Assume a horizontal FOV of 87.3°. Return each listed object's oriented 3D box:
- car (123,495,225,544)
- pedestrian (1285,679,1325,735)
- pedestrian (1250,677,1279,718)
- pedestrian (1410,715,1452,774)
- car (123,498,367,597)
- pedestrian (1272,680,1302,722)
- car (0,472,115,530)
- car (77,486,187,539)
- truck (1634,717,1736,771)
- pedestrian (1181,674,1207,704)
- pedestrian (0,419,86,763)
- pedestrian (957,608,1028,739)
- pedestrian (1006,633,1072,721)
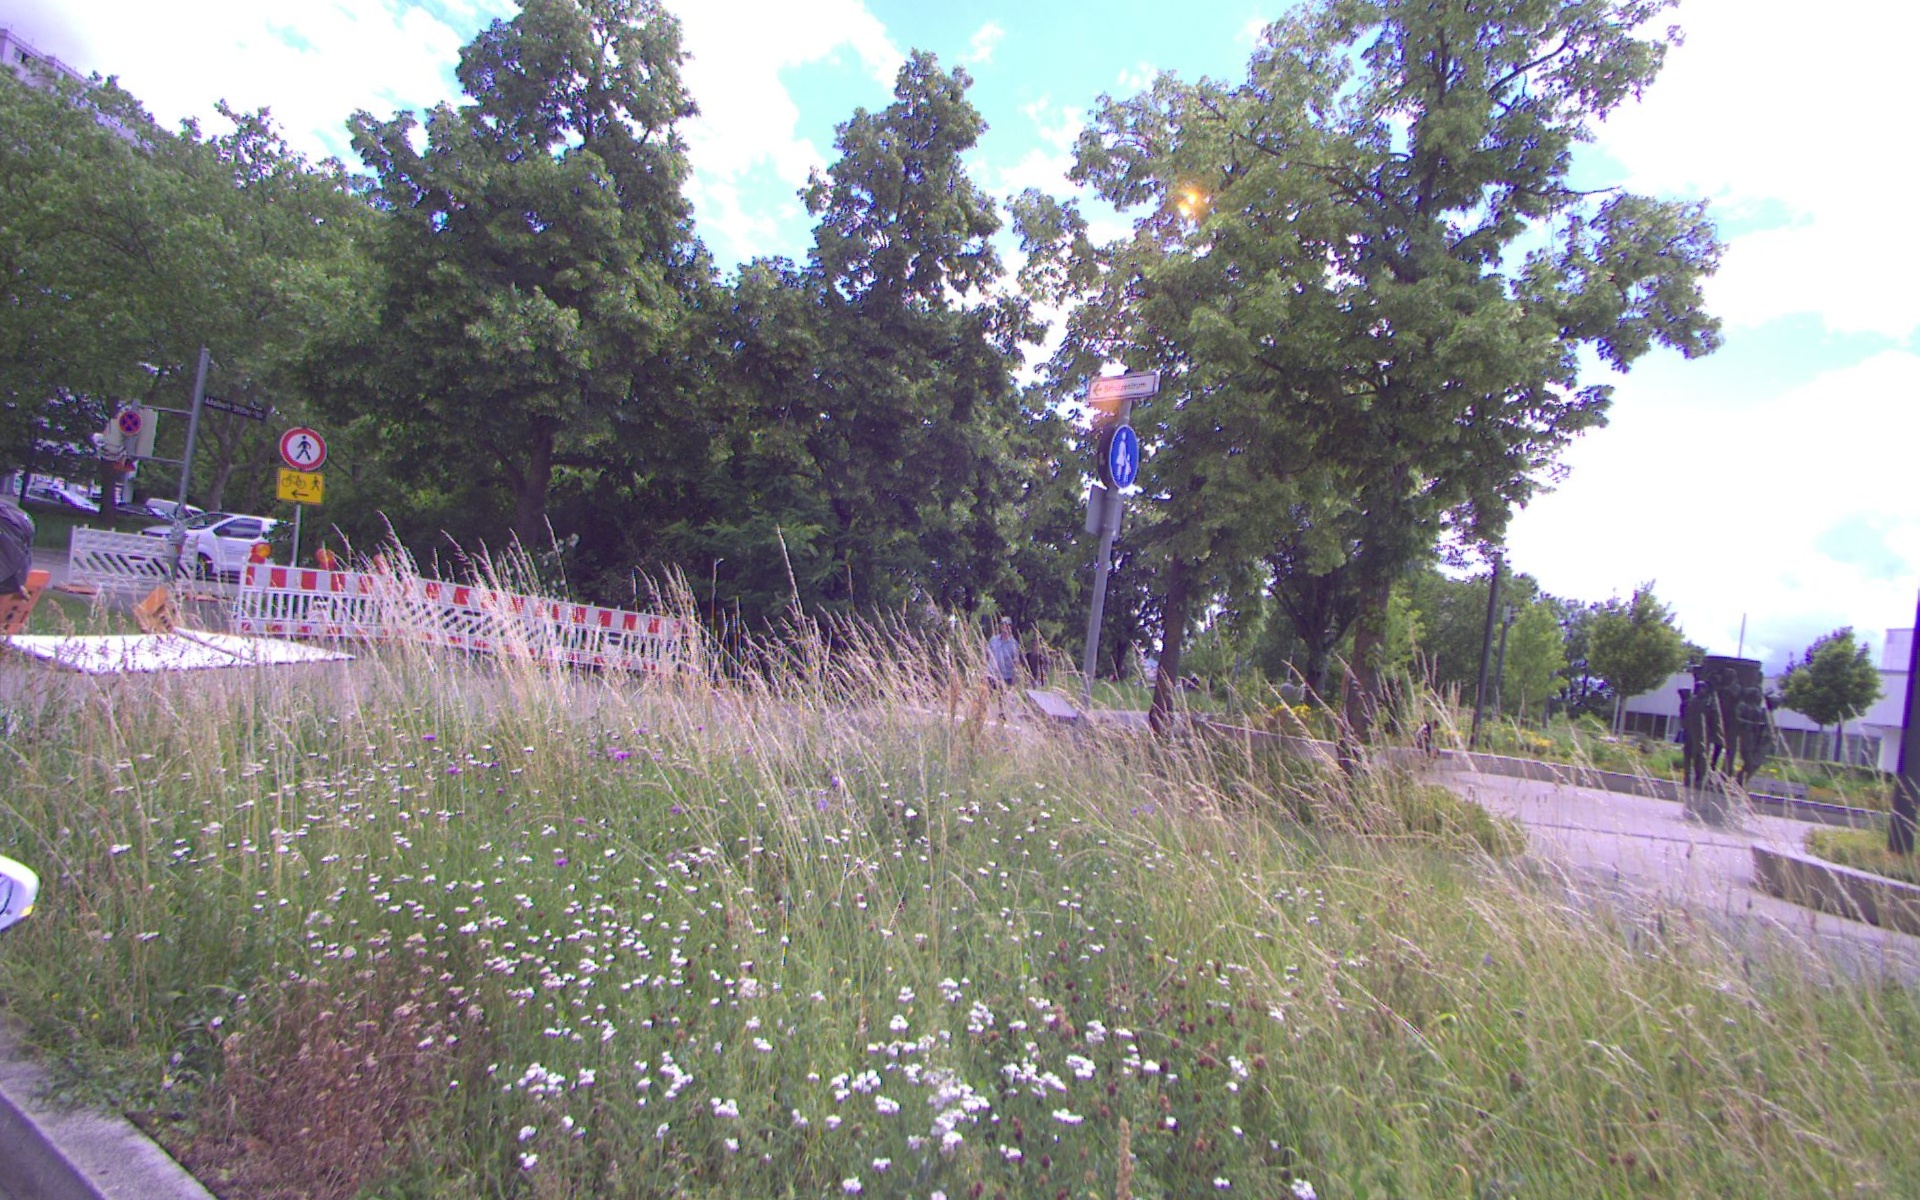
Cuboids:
[{"bbox_3d":[-44.246,-4.525,56.690,3.926,2.037,2.001,8,-1,0],"label":"car"},{"bbox_3d":[13.703,4.247,39.992,1.137,2.037,0.817,8,0,30],"label":"pedestrian"},{"bbox_3d":[13.556,4.353,44.821,0.872,1.681,0.817,8,-1,30],"label":"pedestrian"},{"bbox_3d":[10.823,3.319,23.113,0.623,1.236,0.618,7,-1,36],"label":"pedestrian"},{"bbox_3d":[-19.720,-1.383,28.051,1.915,1.895,5.090,7,-2,28],"label":"car"},{"bbox_3d":[14.419,4.461,44.346,0.879,1.732,0.817,8,-1,30],"label":"pedestrian"},{"bbox_3d":[-43.697,-4.775,48.570,3.926,2.037,2.001,8,-1,0],"label":"car"},{"bbox_3d":[-43.791,-4.598,53.286,3.926,2.037,2.001,8,-1,0],"label":"car"},{"bbox_3d":[37.314,7.403,51.922,1.965,2.037,3.999,8,-1,-4],"label":"truck"},{"bbox_3d":[13.759,5.258,59.291,1.135,1.571,0.818,8,-1,-2],"label":"pedestrian"},{"bbox_3d":[-5.534,-0.104,5.463,1.006,1.795,0.937,8,-1,-42],"label":"pedestrian"},{"bbox_3d":[0.513,1.113,15.348,0.757,1.862,0.765,7,-1,10],"label":"pedestrian"},{"bbox_3d":[1.609,1.574,20.491,0.879,1.647,0.817,8,-1,30],"label":"pedestrian"}]
